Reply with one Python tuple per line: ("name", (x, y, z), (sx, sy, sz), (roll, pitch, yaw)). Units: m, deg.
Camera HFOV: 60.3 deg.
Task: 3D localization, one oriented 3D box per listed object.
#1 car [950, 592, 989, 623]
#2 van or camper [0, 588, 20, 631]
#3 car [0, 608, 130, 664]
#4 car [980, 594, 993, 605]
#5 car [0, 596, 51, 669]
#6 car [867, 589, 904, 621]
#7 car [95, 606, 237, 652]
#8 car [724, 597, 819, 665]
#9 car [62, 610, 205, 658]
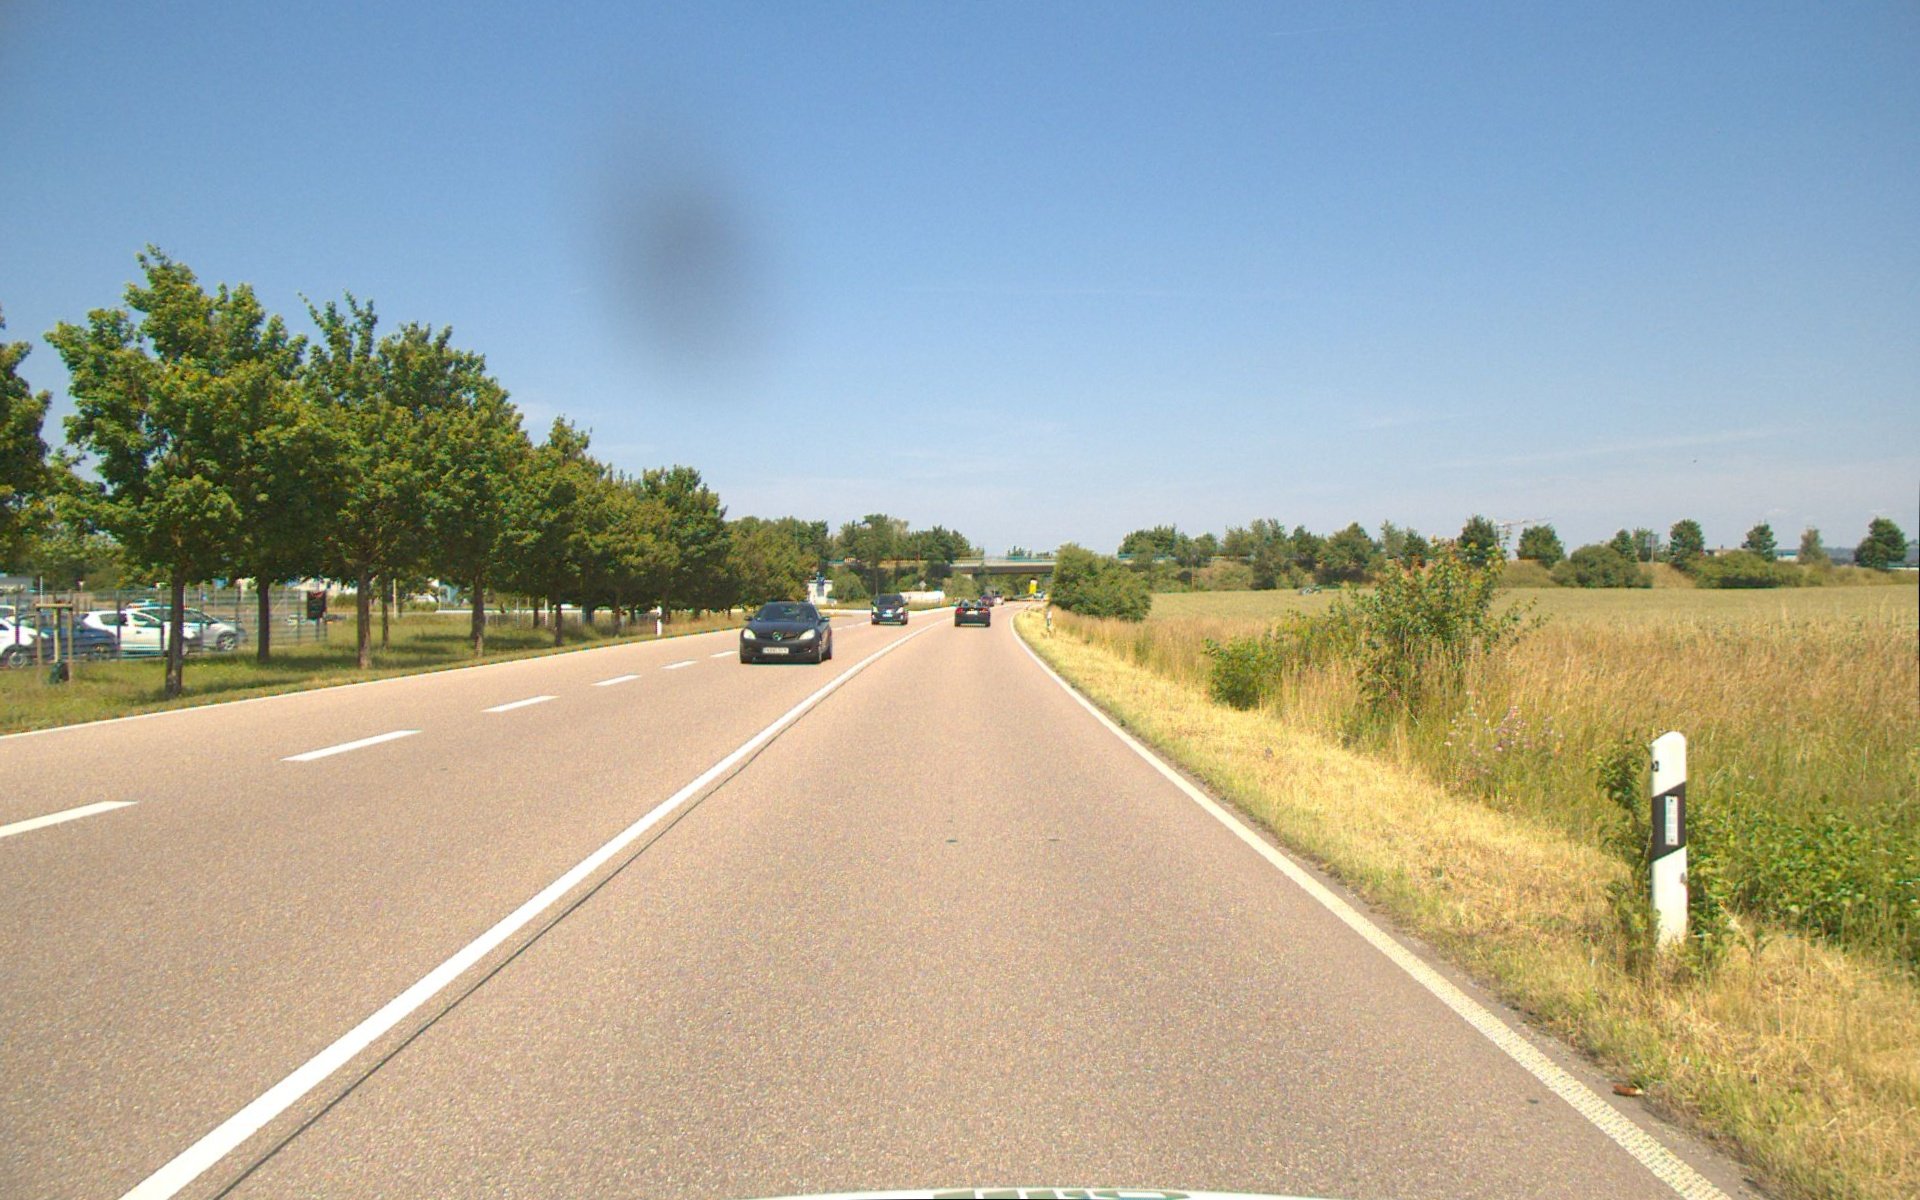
("car", (0.432, 0.365, 80.629), (1.777, 1.466, 3.999), (1, 0, -1))
("van or camper", (-53.926, 0.522, 89.765), (2.414, 2.404, 6.533), (0, 0, -4))
("car", (-27.314, 1.053, 49.729), (3.956, 1.624, 1.974), (0, 0, -36))
("car", (3.399, -0.073, 212.759), (1.706, 1.436, 4.625), (1, 0, 0))
("car", (-27.648, 0.877, 45.439), (4.606, 1.988, 1.806), (0, 0, -33))
("car", (-3.698, 0.242, 82.881), (1.645, 1.525, 3.886), (1, 0, 0))
("car", (-28.040, 1.000, 58.489), (4.301, 1.570, 1.567), (0, 0, -40))
("car", (-3.834, 0.601, 34.073), (1.603, 1.291, 3.811), (0, 0, -1))
("car", (-27.167, 1.095, 54.409), (3.955, 1.505, 1.649), (0, 0, -39))
